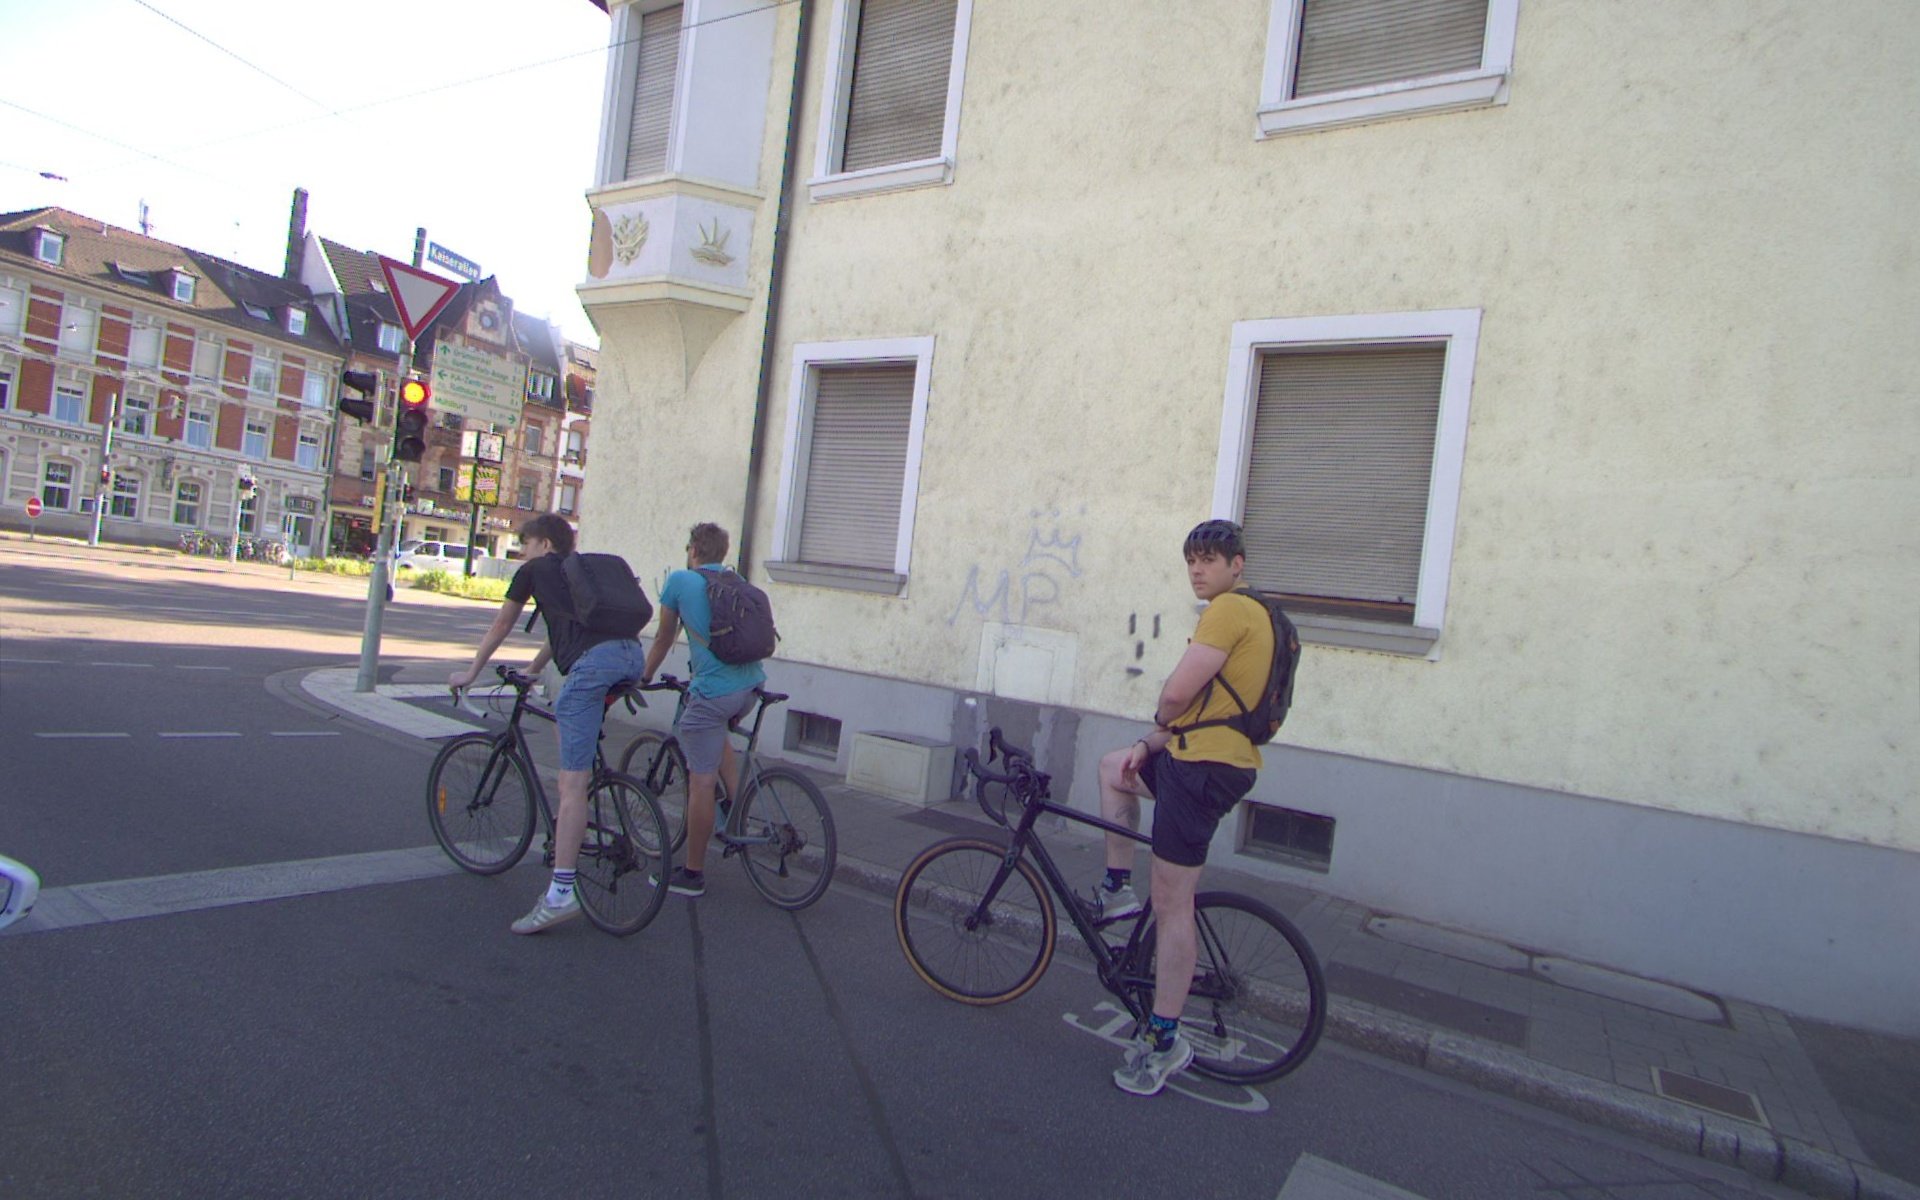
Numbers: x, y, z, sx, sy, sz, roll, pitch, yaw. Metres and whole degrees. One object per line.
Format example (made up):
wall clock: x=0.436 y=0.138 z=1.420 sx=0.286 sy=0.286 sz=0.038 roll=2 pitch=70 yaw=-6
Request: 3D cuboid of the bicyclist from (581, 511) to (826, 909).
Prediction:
bicyclist: x=-1.346 y=0.526 z=5.270 sx=0.960 sy=1.868 sz=0.504 roll=6 pitch=-1 yaw=32

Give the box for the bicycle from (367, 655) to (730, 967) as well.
bicycle: x=-1.909 y=0.863 z=4.554 sx=1.753 sy=1.003 sz=0.482 roll=6 pitch=-1 yaw=32

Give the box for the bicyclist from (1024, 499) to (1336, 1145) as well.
bicyclist: x=0.822 y=0.718 z=3.679 sx=0.763 sy=1.990 sz=0.783 roll=7 pitch=0 yaw=18

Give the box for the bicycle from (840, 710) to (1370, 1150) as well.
bicycle: x=0.549 y=1.122 z=3.849 sx=1.709 sy=1.119 sz=0.783 roll=7 pitch=-1 yaw=18

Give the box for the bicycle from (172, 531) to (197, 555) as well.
bicycle: x=-35.372 y=-2.608 z=45.873 sx=0.762 sy=0.974 sz=2.186 roll=8 pitch=-2 yaw=-39

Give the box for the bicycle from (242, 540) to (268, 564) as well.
bicycle: x=-33.638 y=-2.307 z=47.984 sx=0.762 sy=1.019 sz=2.196 roll=8 pitch=-2 yaw=-39

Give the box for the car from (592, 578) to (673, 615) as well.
car: x=-17.288 y=-0.165 z=53.300 sx=1.569 sy=1.443 sz=3.876 roll=7 pitch=-1 yaw=32

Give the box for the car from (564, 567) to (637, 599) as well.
car: x=-23.209 y=-1.099 z=65.070 sx=1.842 sy=1.454 sz=3.985 roll=6 pitch=-2 yaw=35

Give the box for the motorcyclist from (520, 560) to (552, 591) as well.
motorcyclist: x=-20.432 y=-1.186 z=48.494 sx=0.777 sy=1.315 sz=1.015 roll=6 pitch=-2 yaw=36

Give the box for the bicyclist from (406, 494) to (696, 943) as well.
bicyclist: x=-1.847 y=0.479 z=4.548 sx=0.920 sy=1.787 sz=0.590 roll=6 pitch=-1 yaw=32

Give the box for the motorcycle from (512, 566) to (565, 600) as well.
motorcycle: x=-20.376 y=-0.800 z=48.629 sx=0.784 sy=1.349 sz=2.137 roll=6 pitch=-2 yaw=36

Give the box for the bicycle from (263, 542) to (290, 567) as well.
bicycle: x=-33.022 y=-2.202 z=48.609 sx=0.789 sy=1.027 sz=2.186 roll=8 pitch=-2 yaw=-39

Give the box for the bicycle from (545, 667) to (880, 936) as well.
bicycle: x=-1.324 y=0.966 z=5.221 sx=1.753 sy=0.995 sz=0.504 roll=6 pitch=-1 yaw=32

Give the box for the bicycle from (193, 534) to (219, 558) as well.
bicycle: x=-34.770 y=-2.507 z=46.398 sx=0.762 sy=0.979 sz=2.186 roll=8 pitch=-2 yaw=-39

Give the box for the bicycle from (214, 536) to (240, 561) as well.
bicycle: x=-34.273 y=-2.417 z=47.020 sx=0.762 sy=0.995 sz=2.186 roll=8 pitch=-2 yaw=-39

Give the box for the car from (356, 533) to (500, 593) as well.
car: x=-23.254 y=-1.577 z=44.217 sx=1.967 sy=1.876 sz=5.208 roll=7 pitch=-1 yaw=31
